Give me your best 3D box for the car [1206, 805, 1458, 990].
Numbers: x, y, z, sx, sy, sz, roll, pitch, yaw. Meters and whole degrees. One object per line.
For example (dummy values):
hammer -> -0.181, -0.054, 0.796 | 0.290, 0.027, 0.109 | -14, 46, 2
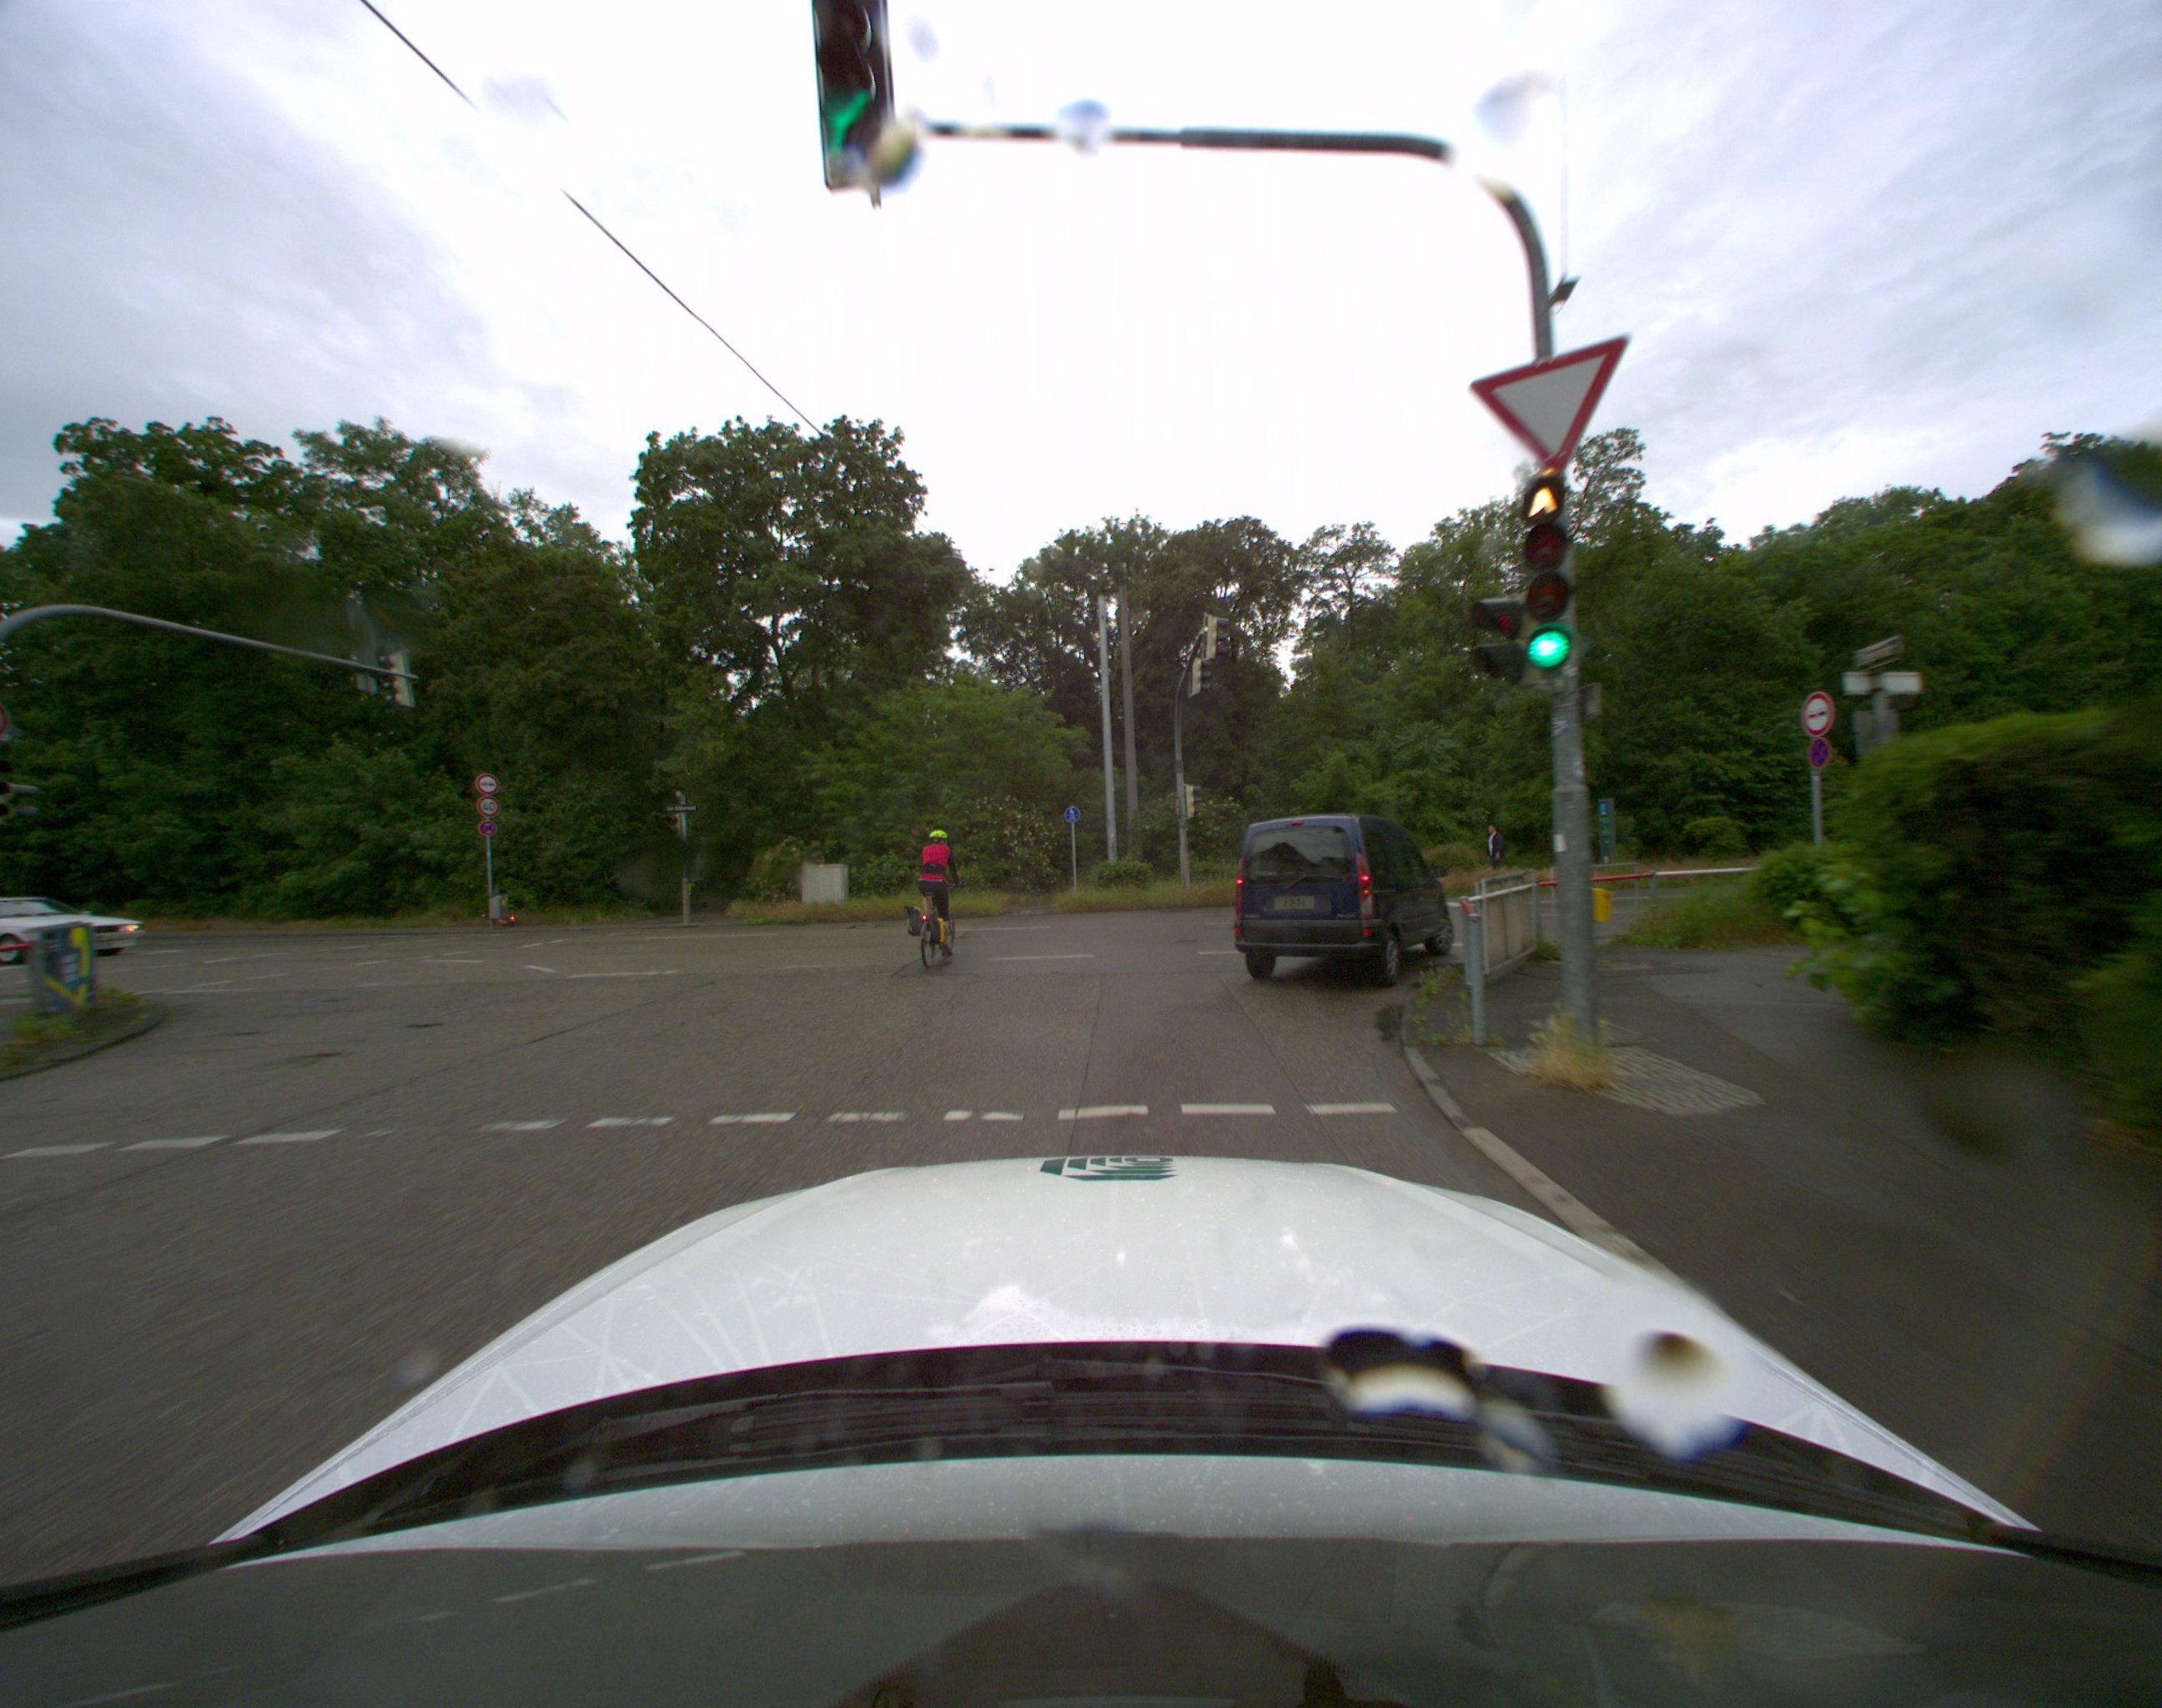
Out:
car -> 3.283, 0.418, 10.072 | 1.791, 1.797, 4.026 | -3, -1, 34

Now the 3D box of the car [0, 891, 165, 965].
car -> -21.639, 1.477, 16.614 | 3.970, 1.354, 1.827 | -1, 0, 3

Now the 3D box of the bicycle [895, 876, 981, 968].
bicycle -> -1.981, 0.906, 11.624 | 0.575, 1.096, 2.158 | -1, 1, 7

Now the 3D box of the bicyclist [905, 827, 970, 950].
bicyclist -> -2.010, 0.459, 11.513 | 0.575, 1.652, 1.050 | -1, 0, 7

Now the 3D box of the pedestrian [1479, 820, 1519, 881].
pedestrian -> 12.719, -0.092, 24.795 | 0.758, 1.800, 0.779 | -2, 0, 2
